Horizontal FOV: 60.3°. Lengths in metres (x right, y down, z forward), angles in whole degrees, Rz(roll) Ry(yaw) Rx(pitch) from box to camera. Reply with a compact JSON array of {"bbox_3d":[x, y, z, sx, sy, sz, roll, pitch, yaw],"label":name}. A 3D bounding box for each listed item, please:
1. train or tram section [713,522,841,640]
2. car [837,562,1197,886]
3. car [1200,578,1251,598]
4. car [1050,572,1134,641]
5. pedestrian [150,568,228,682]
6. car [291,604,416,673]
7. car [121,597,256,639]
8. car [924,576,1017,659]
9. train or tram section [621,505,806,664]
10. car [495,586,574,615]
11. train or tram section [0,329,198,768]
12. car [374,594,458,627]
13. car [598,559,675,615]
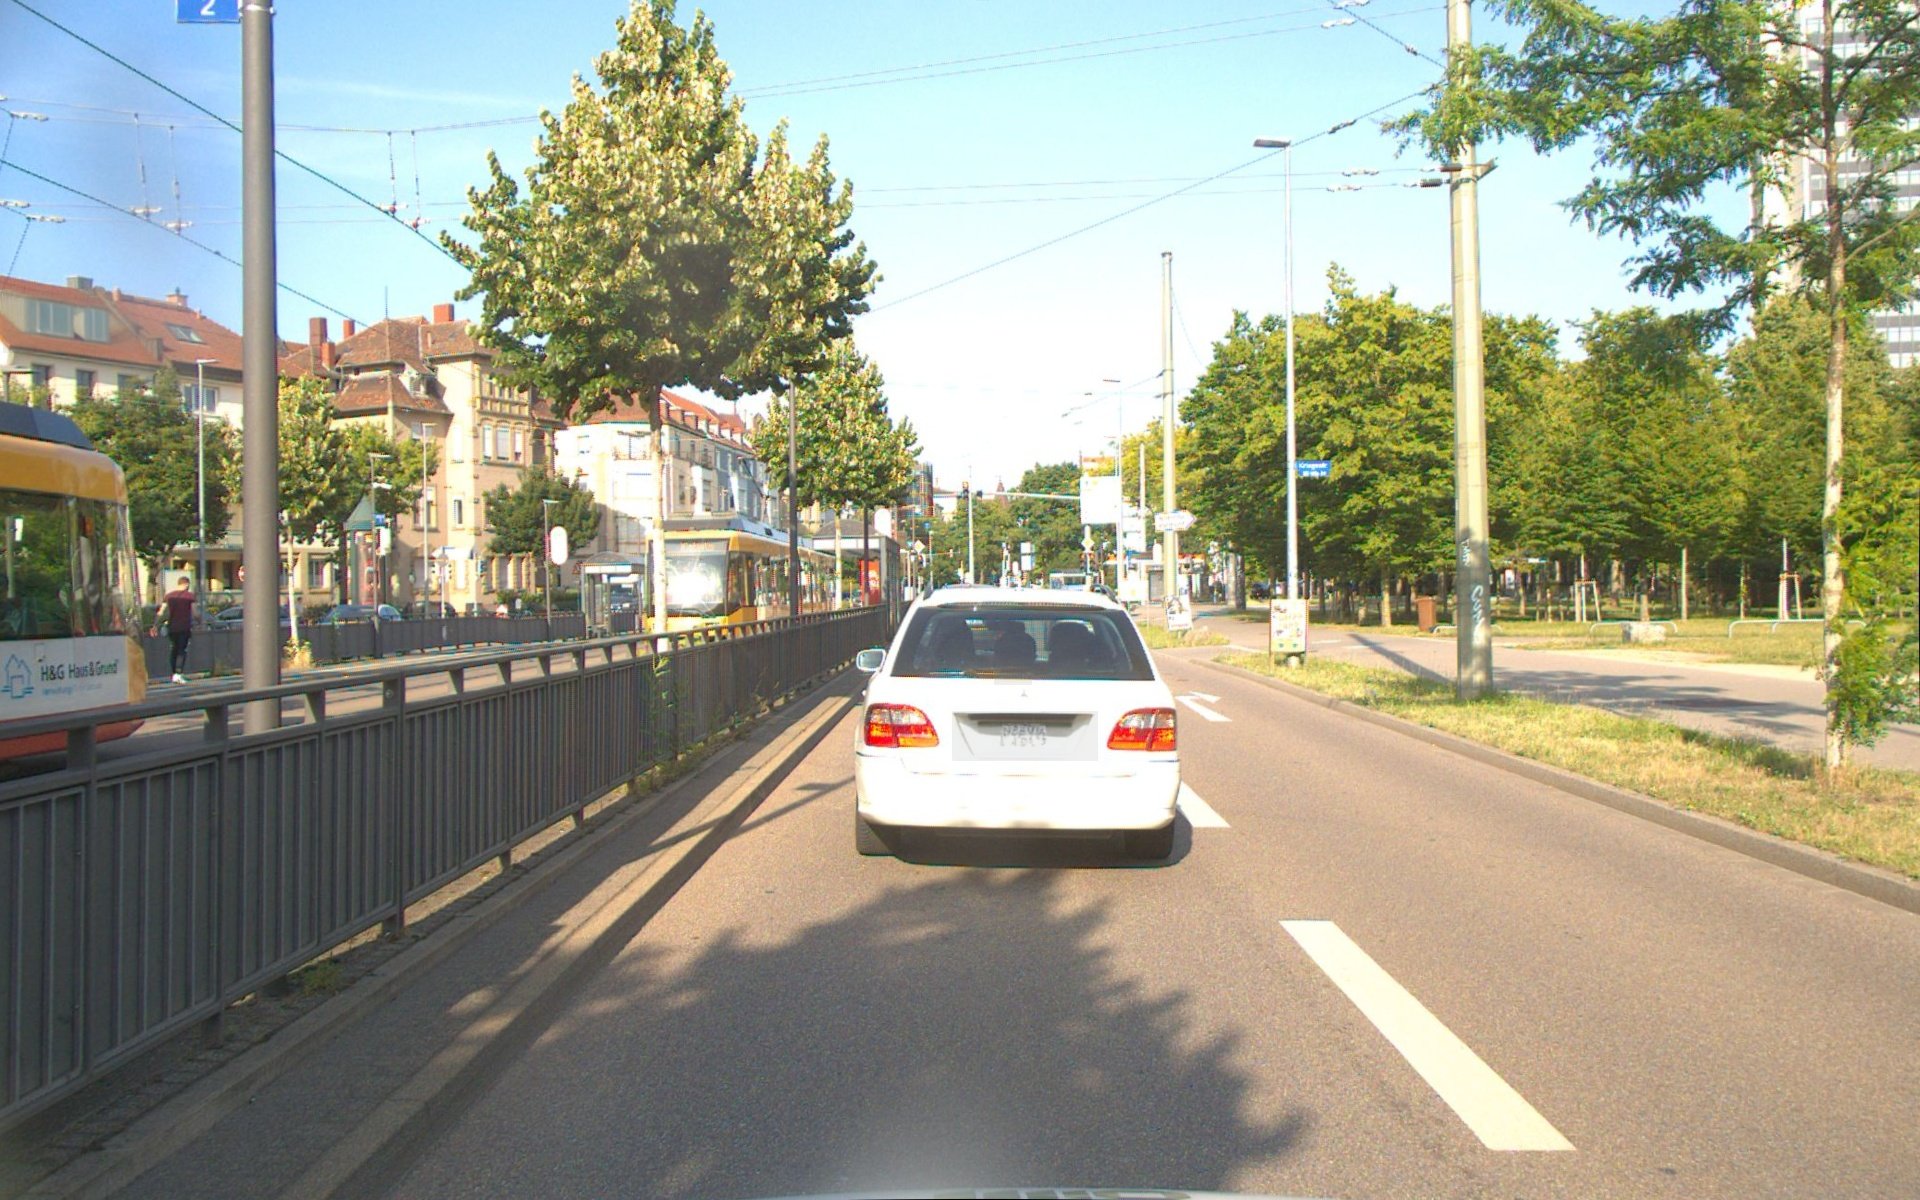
[{"bbox_3d":[-6.009,-0.667,56.611,2.791,3.540,13.201,-1,1,0],"label":"train or tram section"},{"bbox_3d":[0.363,0.674,10.046,1.721,1.530,4.000,1,-2,2],"label":"car"},{"bbox_3d":[23.029,-1.039,143.286,3.908,1.680,1.998,-1,0,26],"label":"car"},{"bbox_3d":[3.302,0.139,41.497,1.990,1.633,4.002,-1,1,4],"label":"car"},{"bbox_3d":[-12.299,0.385,26.407,0.818,1.763,0.772,-1,0,0],"label":"pedestrian"},{"bbox_3d":[-16.330,1.006,44.745,1.953,1.713,3.999,-1,1,-1],"label":"car"},{"bbox_3d":[-27.116,0.621,58.170,3.902,1.422,2.002,0,1,15],"label":"car"},{"bbox_3d":[0.278,0.339,36.567,1.749,1.719,4.003,-1,1,4],"label":"car"},{"bbox_3d":[-6.118,-0.455,43.519,2.791,3.540,13.201,0,1,0],"label":"train or tram section"},{"bbox_3d":[-25.567,-0.001,99.490,2.159,1.656,4.715,0,1,23],"label":"car"},{"bbox_3d":[-9.276,-0.354,9.537,3.097,3.540,14.471,-1,1,0],"label":"train or tram section"},{"bbox_3d":[-29.797,0.581,90.608,3.903,1.780,2.001,0,1,18],"label":"car"},{"bbox_3d":[-16.736,-0.697,86.130,2.543,2.783,7.468,-1,1,0],"label":"car"}]
